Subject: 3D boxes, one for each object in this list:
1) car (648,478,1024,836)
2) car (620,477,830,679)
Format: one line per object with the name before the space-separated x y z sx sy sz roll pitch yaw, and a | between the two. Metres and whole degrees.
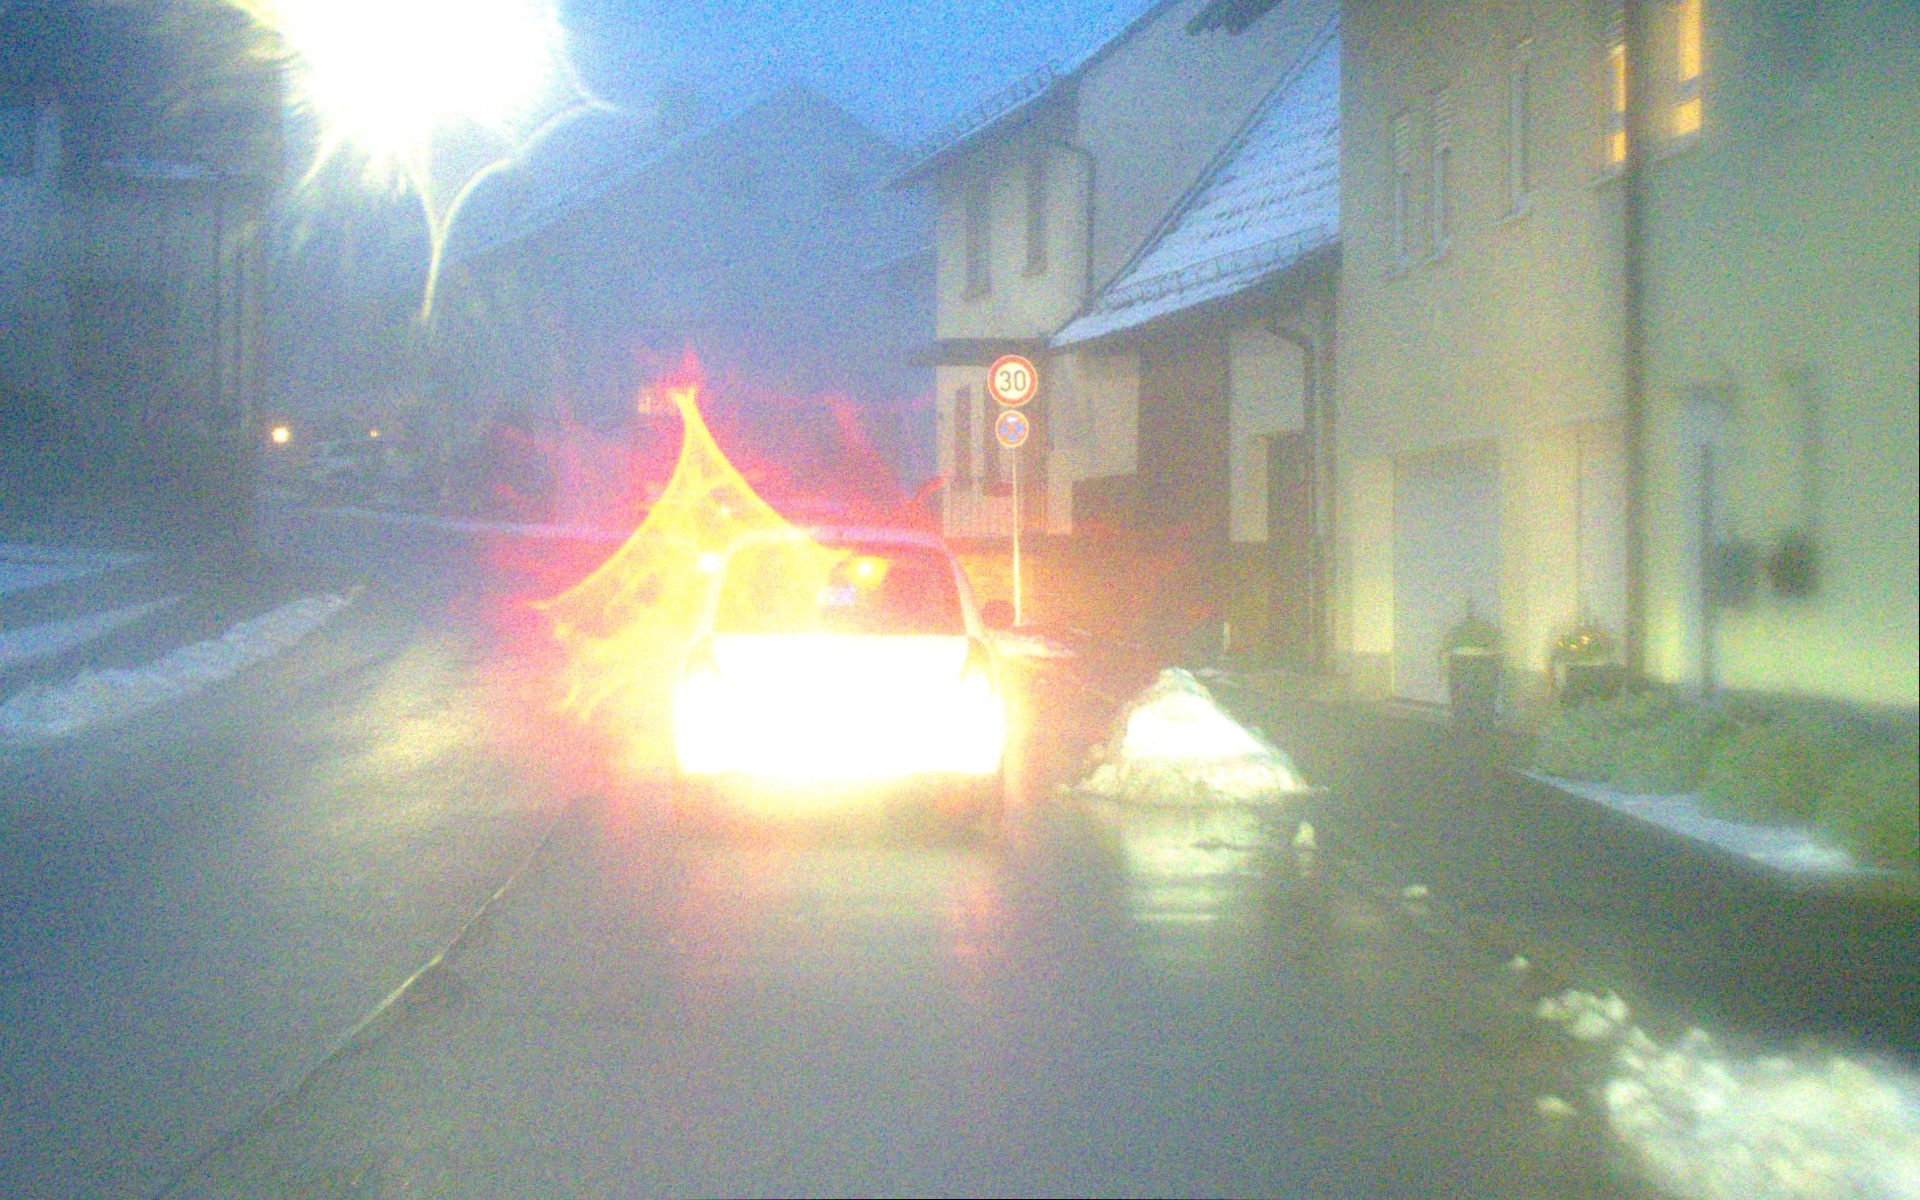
car | -0.728 0.240 17.512 1.645 1.590 3.700 2 1 -6
car | -2.078 -0.203 29.668 1.645 1.590 3.700 2 1 -6
